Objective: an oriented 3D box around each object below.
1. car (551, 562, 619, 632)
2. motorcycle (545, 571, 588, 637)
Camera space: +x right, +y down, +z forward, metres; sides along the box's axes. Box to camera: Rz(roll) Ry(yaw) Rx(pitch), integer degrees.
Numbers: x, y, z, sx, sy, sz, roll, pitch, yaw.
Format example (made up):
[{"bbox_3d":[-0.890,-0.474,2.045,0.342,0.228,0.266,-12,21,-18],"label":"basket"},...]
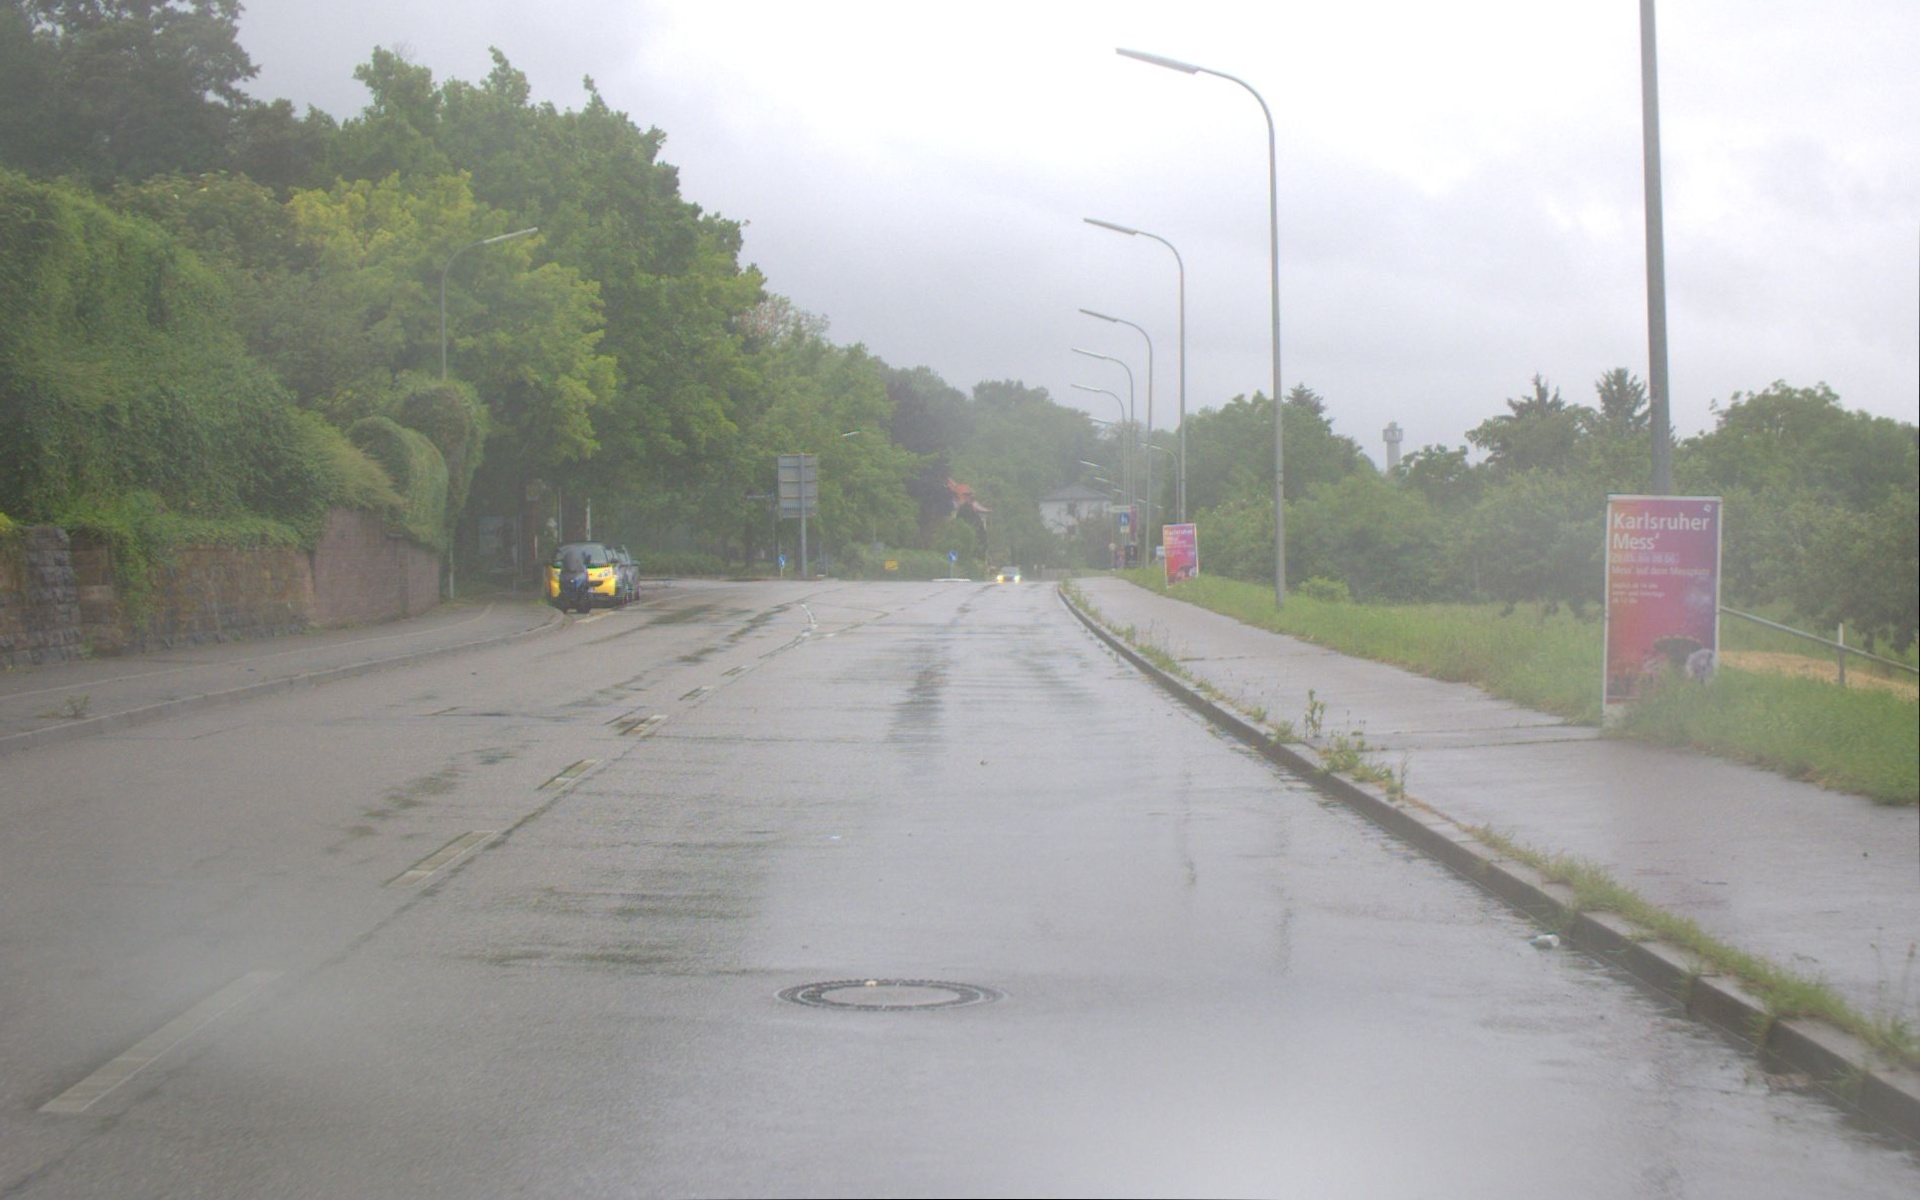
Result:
[{"bbox_3d":[-8.659,-0.085,79.237,1.433,1.532,2.820,-2,1,-8],"label":"car"},{"bbox_3d":[-8.272,0.076,72.421,0.837,1.336,2.500,-2,1,-6],"label":"motorcycle"}]
